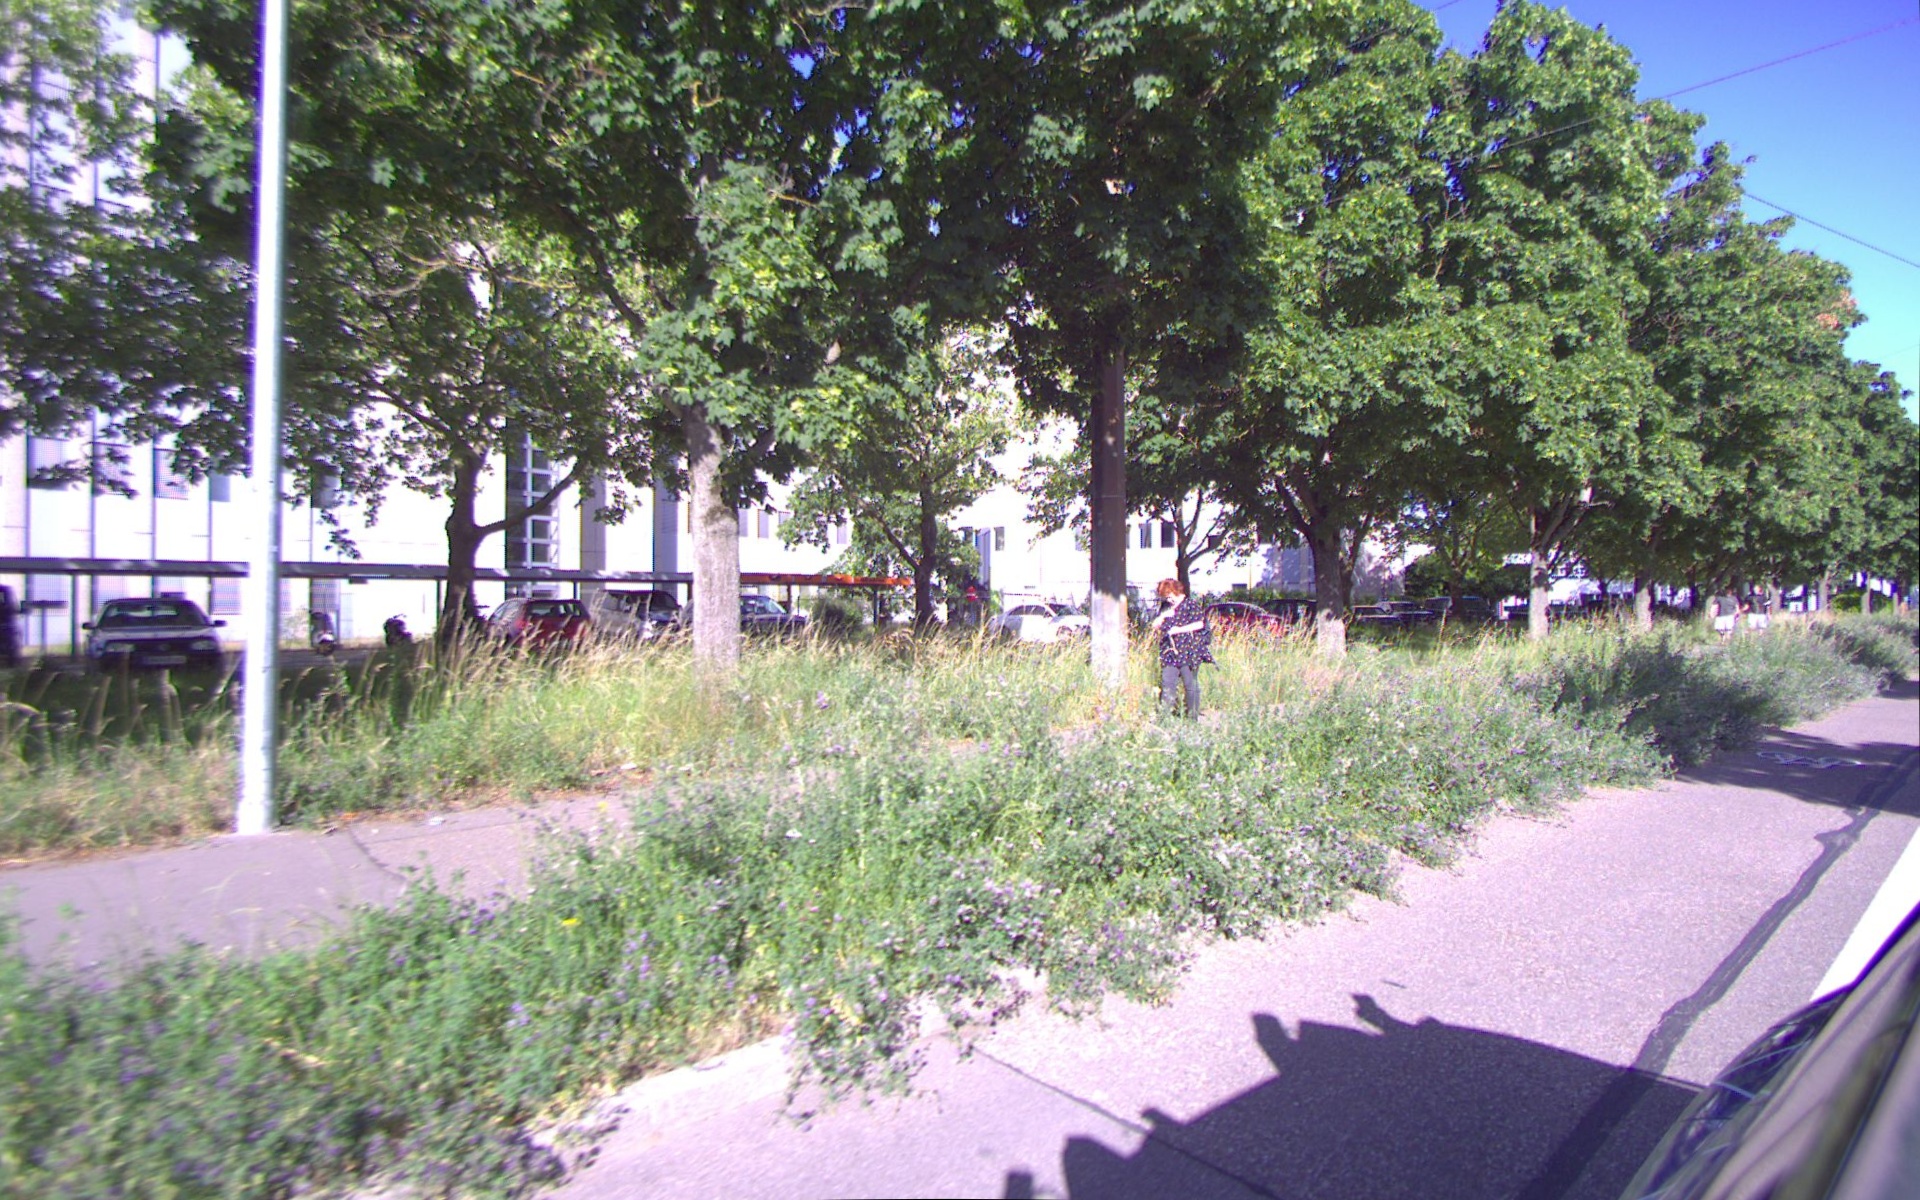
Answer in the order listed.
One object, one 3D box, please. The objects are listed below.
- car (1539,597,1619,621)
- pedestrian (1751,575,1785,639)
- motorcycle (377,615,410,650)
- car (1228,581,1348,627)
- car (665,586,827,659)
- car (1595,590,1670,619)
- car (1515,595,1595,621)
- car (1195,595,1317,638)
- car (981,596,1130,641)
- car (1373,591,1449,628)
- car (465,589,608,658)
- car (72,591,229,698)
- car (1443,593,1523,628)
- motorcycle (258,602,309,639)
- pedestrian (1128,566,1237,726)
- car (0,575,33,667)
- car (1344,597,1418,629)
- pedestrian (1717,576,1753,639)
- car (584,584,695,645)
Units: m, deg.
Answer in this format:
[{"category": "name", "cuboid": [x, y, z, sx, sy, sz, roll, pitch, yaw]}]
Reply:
[{"category": "car", "cuboid": [38.314, 0.543, 62.775, 1.811, 1.466, 4.553, 0, 0, -5]}, {"category": "pedestrian", "cuboid": [24.956, 0.201, 31.265, 0.803, 1.942, 0.708, 0, -1, -45]}, {"category": "motorcycle", "cuboid": [-17.001, 0.966, 30.367, 0.528, 0.983, 1.651, 0, 0, -41]}, {"category": "car", "cuboid": [13.206, 0.129, 40.882, 4.329, 1.721, 1.740, 1, 1, 40]}, {"category": "car", "cuboid": [-5.288, 0.482, 24.634, 1.853, 1.617, 4.395, 0, 0, -44]}, {"category": "car", "cuboid": [46.579, 0.306, 70.231, 2.043, 1.900, 5.179, -1, 0, 5]}, {"category": "car", "cuboid": [35.648, 0.470, 60.810, 1.811, 1.535, 4.553, 0, 0, -5]}, {"category": "car", "cuboid": [11.465, 0.601, 39.379, 4.225, 1.555, 1.740, 1, 1, 40]}, {"category": "car", "cuboid": [2.945, 0.549, 32.101, 1.777, 1.287, 4.702, 2, 0, -43]}, {"category": "car", "cuboid": [21.121, 0.434, 47.588, 1.690, 1.659, 3.988, 0, 0, -1]}, {"category": "car", "cuboid": [-9.253, 0.455, 21.898, 1.903, 1.341, 4.306, 2, 0, -36]}, {"category": "car", "cuboid": [-13.372, 0.639, 16.632, 1.678, 1.544, 3.997, 0, 0, -44]}, {"category": "car", "cuboid": [27.467, 0.535, 53.344, 1.886, 1.774, 5.445, -1, 0, 7]}, {"category": "motorcycle", "cuboid": [-25.767, 0.755, 38.523, 3.033, 1.338, 1.000, 0, 0, 44]}, {"category": "pedestrian", "cuboid": [2.339, 0.459, 10.637, 0.749, 1.589, 0.826, 0, -1, -40]}, {"category": "car", "cuboid": [-23.367, 0.458, 23.858, 1.923, 2.039, 4.595, 0, 0, -39]}, {"category": "car", "cuboid": [18.735, 0.565, 45.186, 1.677, 1.358, 3.985, 0, 0, 1]}, {"category": "pedestrian", "cuboid": [24.379, 0.226, 31.831, 0.802, 1.955, 0.709, 0, -1, -41]}, {"category": "car", "cuboid": [-11.214, 0.461, 35.215, 1.940, 1.975, 4.757, 1, 0, -41]}]
